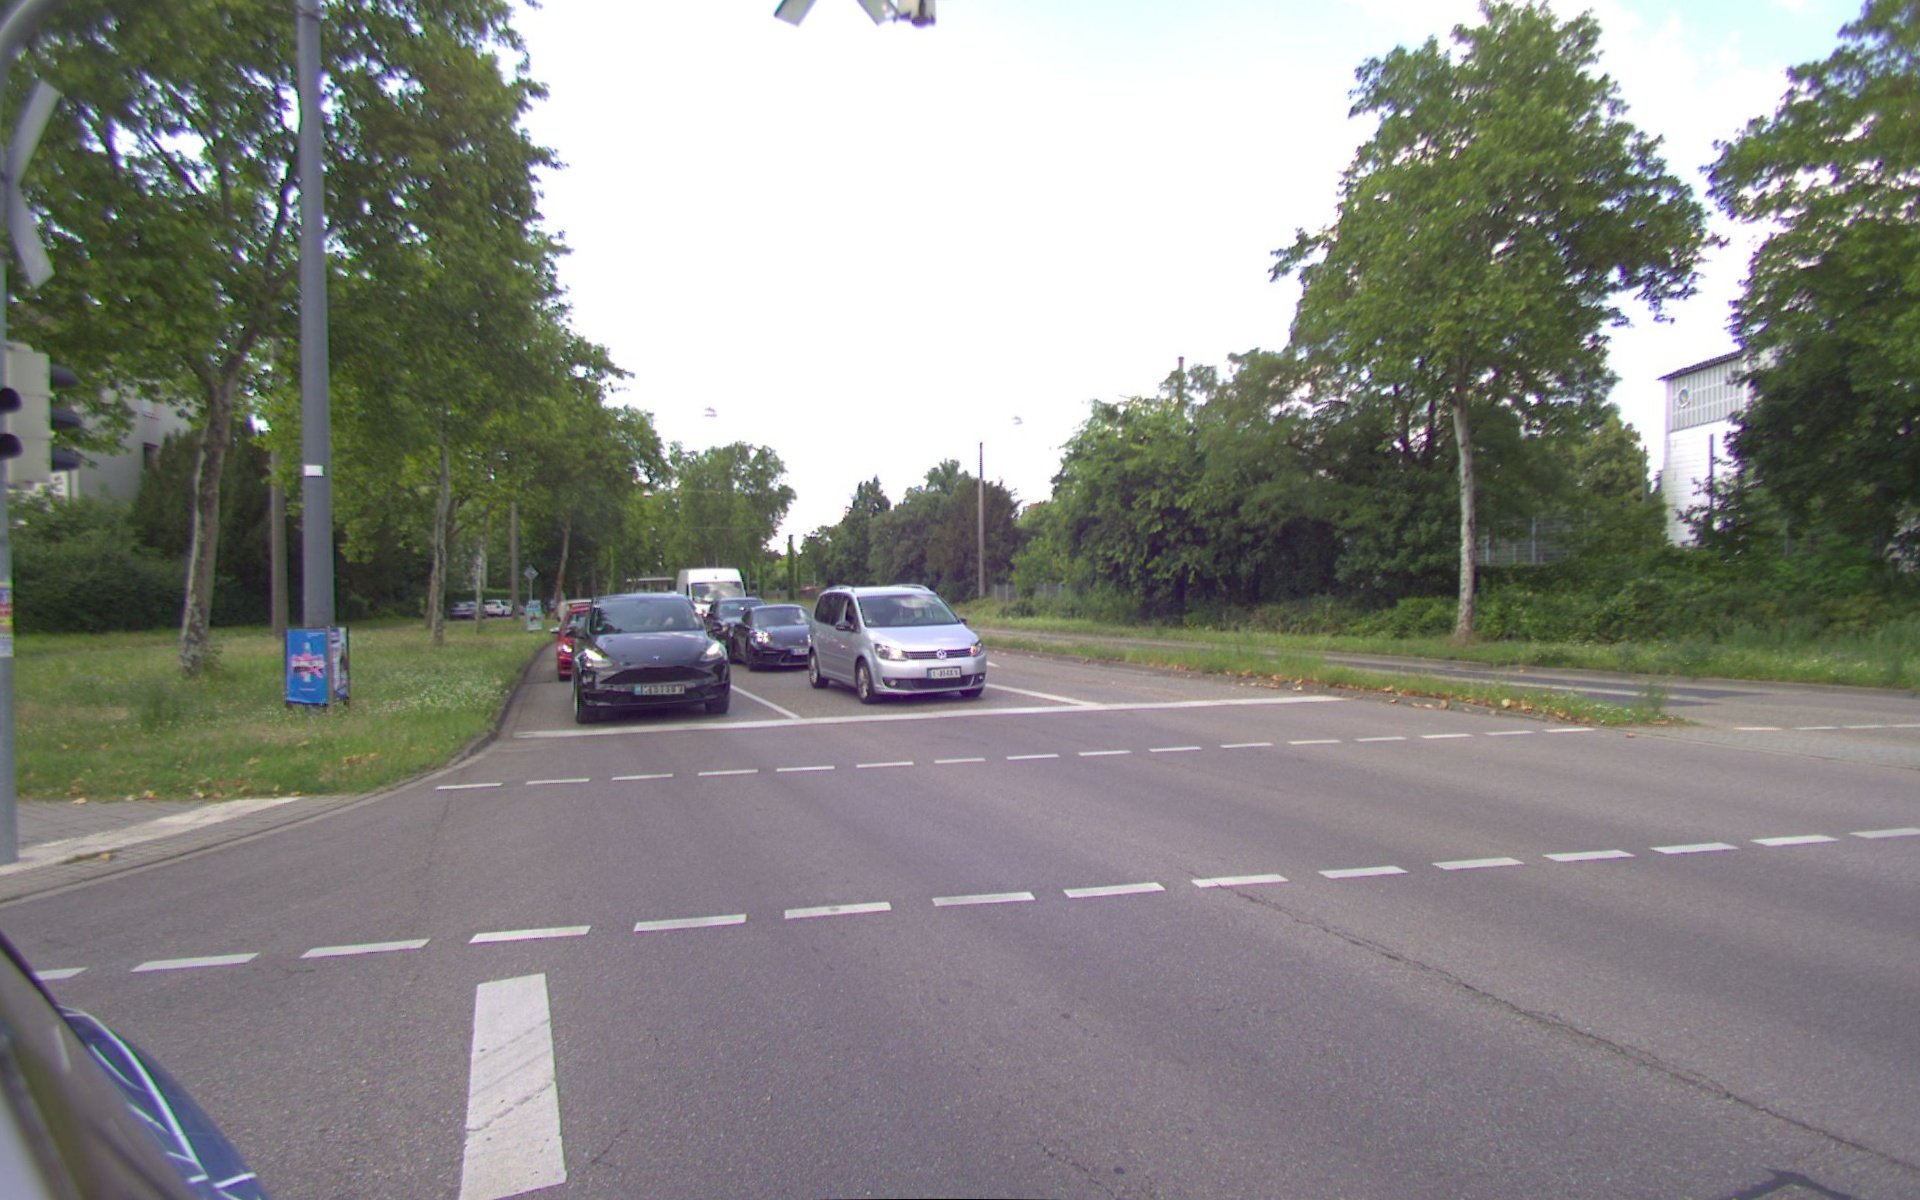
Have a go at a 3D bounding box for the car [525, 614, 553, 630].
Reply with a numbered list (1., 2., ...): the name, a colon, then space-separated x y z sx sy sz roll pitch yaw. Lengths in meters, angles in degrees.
1. car: -42.423 2.223 102.053 1.749 1.608 3.662 -1 -2 -7

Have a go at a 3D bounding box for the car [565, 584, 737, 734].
1. car: -4.483 0.676 14.205 1.898 1.664 4.595 -3 1 -21

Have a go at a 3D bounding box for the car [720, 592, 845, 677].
1. car: -3.850 0.654 21.358 1.773 1.519 4.013 -3 1 -21

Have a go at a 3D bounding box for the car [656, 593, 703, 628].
1. car: -14.283 0.521 51.396 1.734 1.659 4.358 -1 0 -23

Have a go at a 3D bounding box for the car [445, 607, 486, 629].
1. car: -38.053 1.410 77.937 1.749 1.608 3.662 -1 -2 -7

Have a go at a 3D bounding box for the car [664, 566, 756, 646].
1. car: -9.073 0.194 36.254 2.189 2.549 5.953 -3 1 -23

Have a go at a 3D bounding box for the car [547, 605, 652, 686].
1. car: -7.668 0.859 21.289 1.771 1.401 4.517 -3 1 -23

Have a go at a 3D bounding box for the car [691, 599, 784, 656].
1. car: -6.318 0.701 28.356 1.734 1.385 4.358 -3 1 -23

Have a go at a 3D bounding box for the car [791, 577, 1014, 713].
1. car: -1.054 0.568 15.307 1.897 1.664 4.517 -3 1 -23

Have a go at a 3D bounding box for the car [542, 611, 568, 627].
1. car: -43.956 2.077 109.826 1.749 1.608 3.662 -1 -2 -7

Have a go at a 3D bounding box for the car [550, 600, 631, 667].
1. car: -10.103 0.821 27.474 1.771 1.581 4.517 -3 1 -23

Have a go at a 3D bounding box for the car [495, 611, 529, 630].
1. car: -40.339 1.855 91.206 1.749 1.608 3.662 -1 -2 -7

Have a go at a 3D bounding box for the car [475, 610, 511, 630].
1. car: -40.021 1.711 86.798 1.749 1.608 3.662 -1 -2 -7
